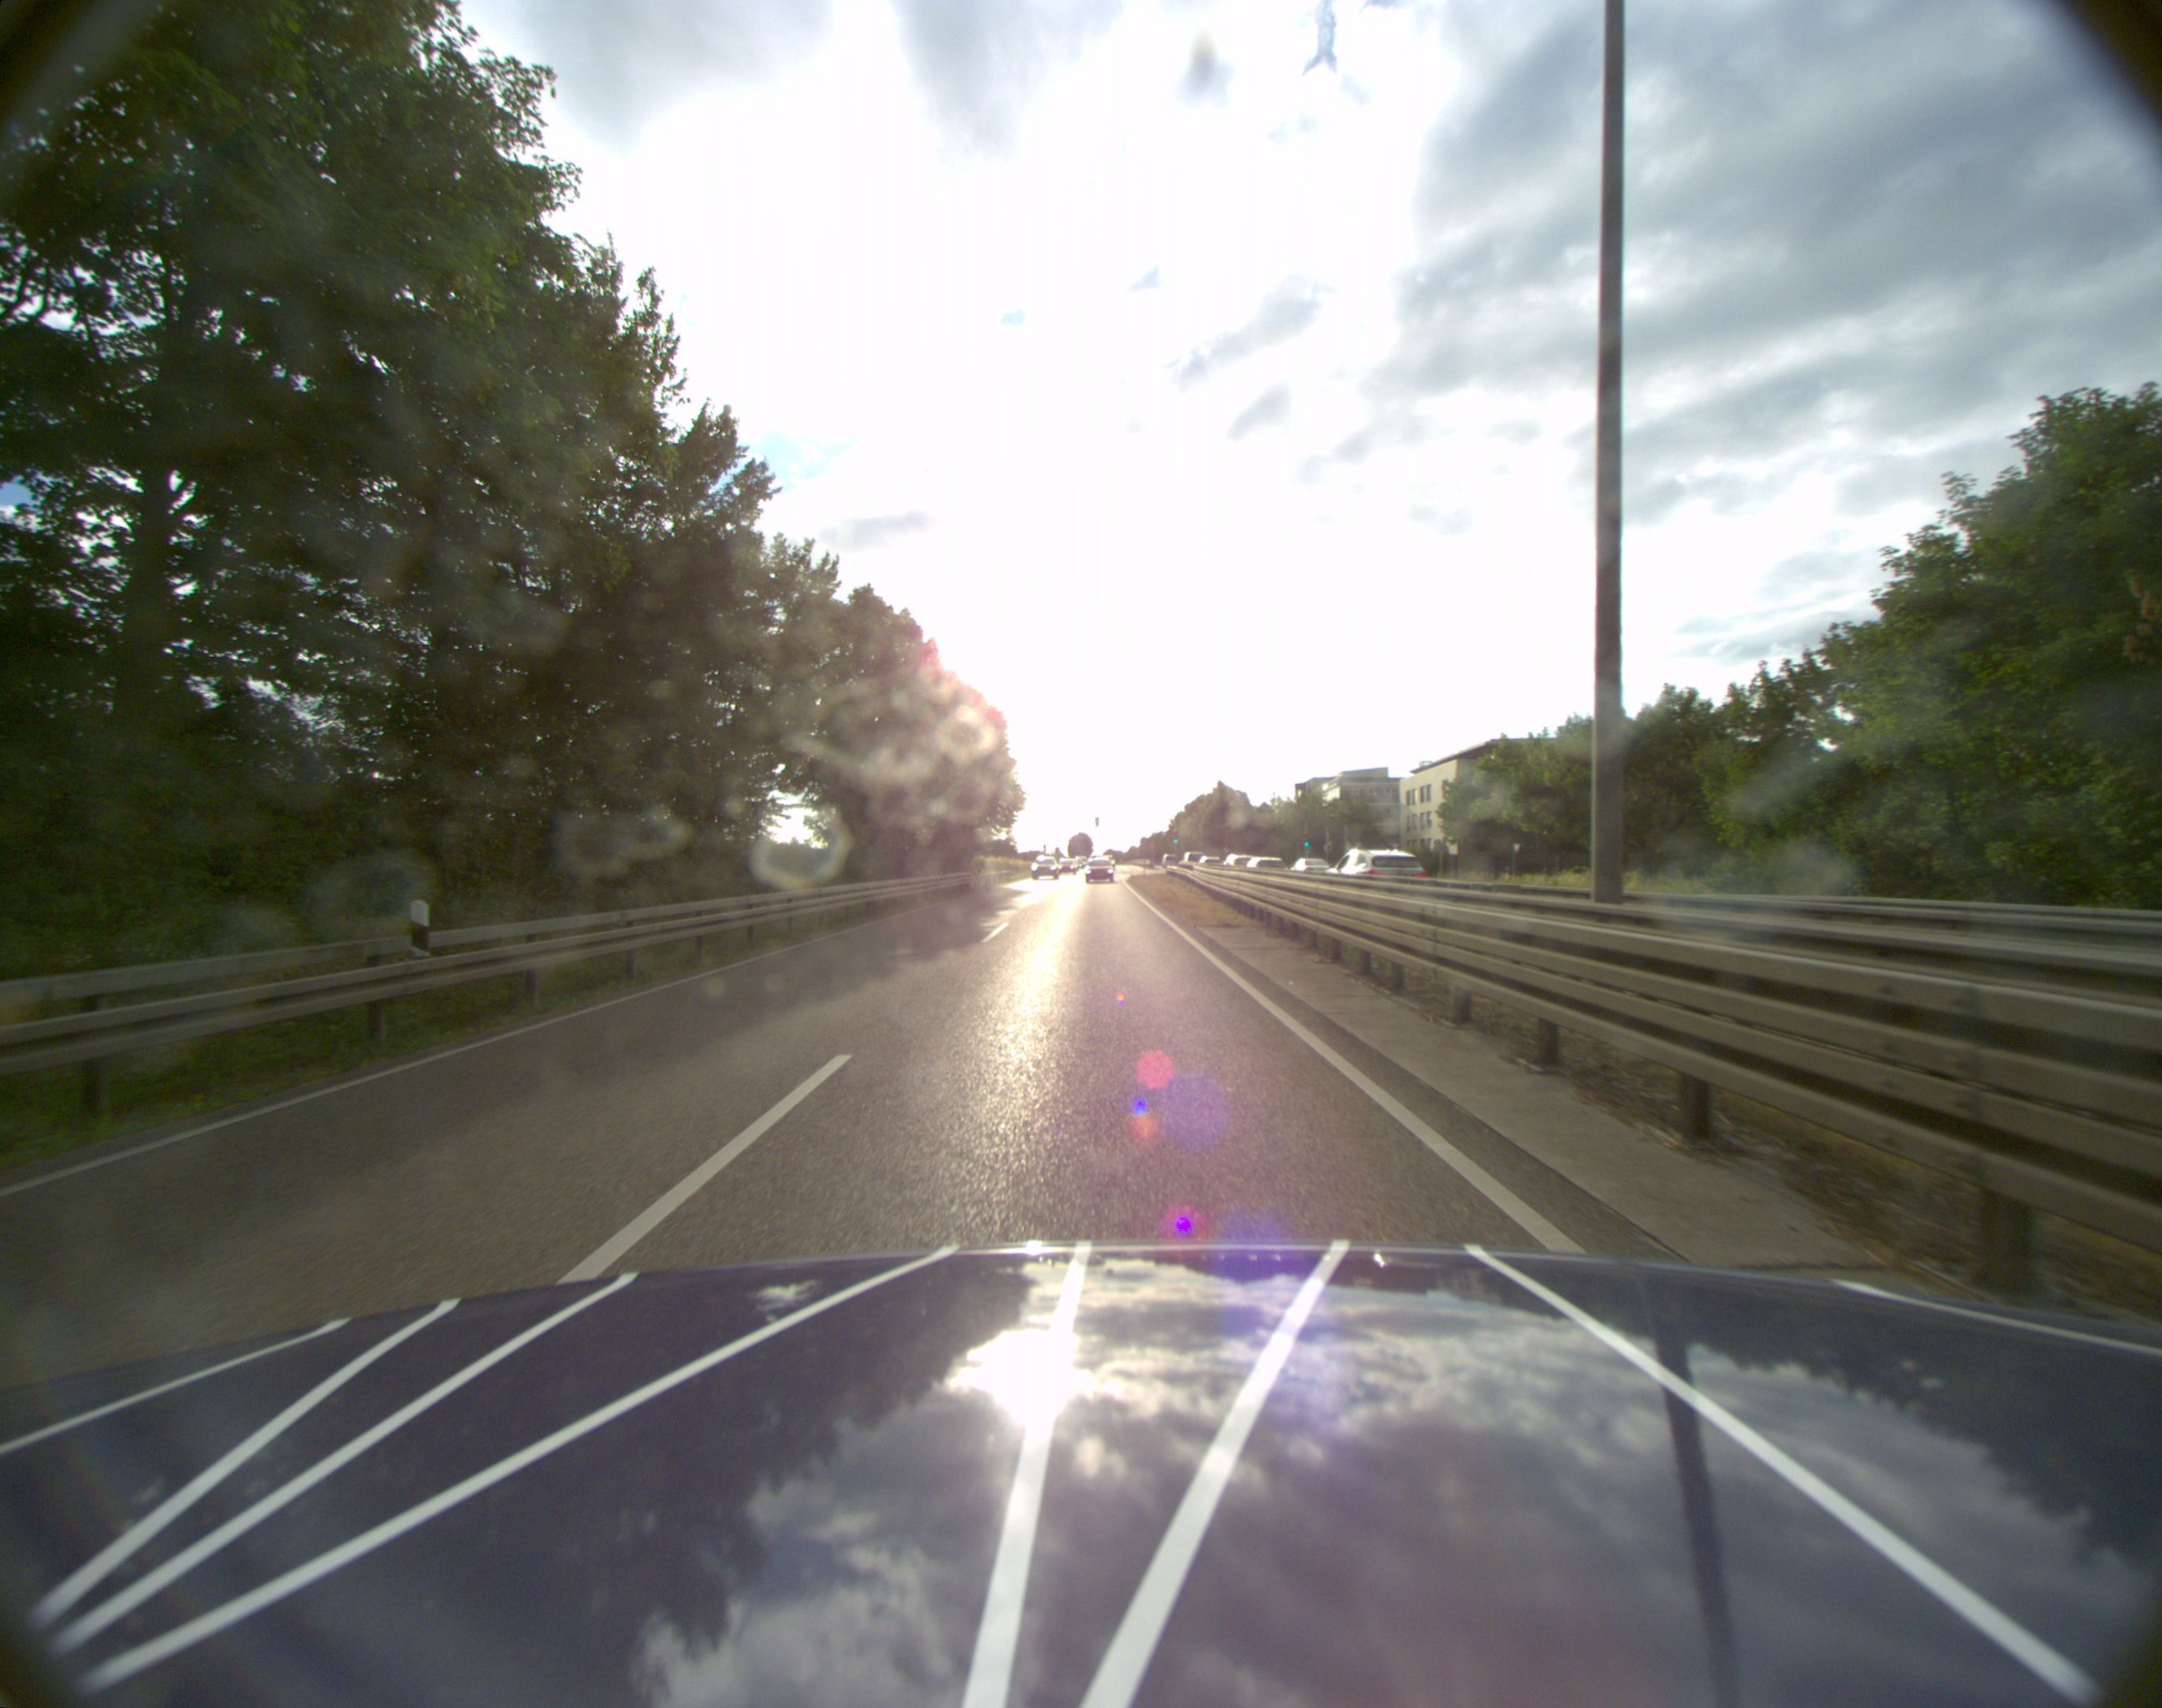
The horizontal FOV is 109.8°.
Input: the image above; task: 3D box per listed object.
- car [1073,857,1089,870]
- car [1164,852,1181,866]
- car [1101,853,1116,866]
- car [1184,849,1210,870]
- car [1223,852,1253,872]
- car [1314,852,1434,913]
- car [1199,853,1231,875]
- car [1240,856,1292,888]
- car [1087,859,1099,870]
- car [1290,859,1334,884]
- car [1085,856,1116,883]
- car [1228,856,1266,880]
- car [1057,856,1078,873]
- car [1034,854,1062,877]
[{"bbox_3d":[0.041,1.285,105.403,1.948,1.652,4.001,-2,-1,2],"label":"car"},{"bbox_3d":[12.968,0.716,107.689,1.939,1.861,5.347,-2,0,2],"label":"car"},{"bbox_3d":[3.456,0.684,95.006,1.786,1.624,3.866,0,1,4],"label":"car"},{"bbox_3d":[11.143,0.515,73.246,1.903,1.905,5.051,-2,0,3],"label":"car"},{"bbox_3d":[14.496,0.738,70.326,2.038,1.739,4.846,1,0,3],"label":"car"},{"bbox_3d":[8.495,0.750,22.501,1.827,1.575,4.791,0,0,2],"label":"car"},{"bbox_3d":[10.042,0.686,57.357,1.717,1.580,4.554,0,0,1],"label":"car"},{"bbox_3d":[8.996,0.854,37.157,1.722,1.458,3.734,0,0,1],"label":"car"},{"bbox_3d":[2.247,1.838,136.979,1.998,1.740,4.000,3,1,2],"label":"car"},{"bbox_3d":[12.837,0.947,42.379,1.433,1.345,3.310,0,0,0],"label":"car"},{"bbox_3d":[1.193,0.888,45.238,1.723,1.467,3.729,0,0,4],"label":"car"},{"bbox_3d":[9.918,0.814,45.679,1.560,1.352,3.463,-2,-1,1],"label":"car"},{"bbox_3d":[-1.247,0.985,72.200,1.668,1.467,3.867,-2,-1,4],"label":"car"},{"bbox_3d":[-2.455,0.850,57.995,1.723,1.657,4.420,-2,-1,2],"label":"car"}]
